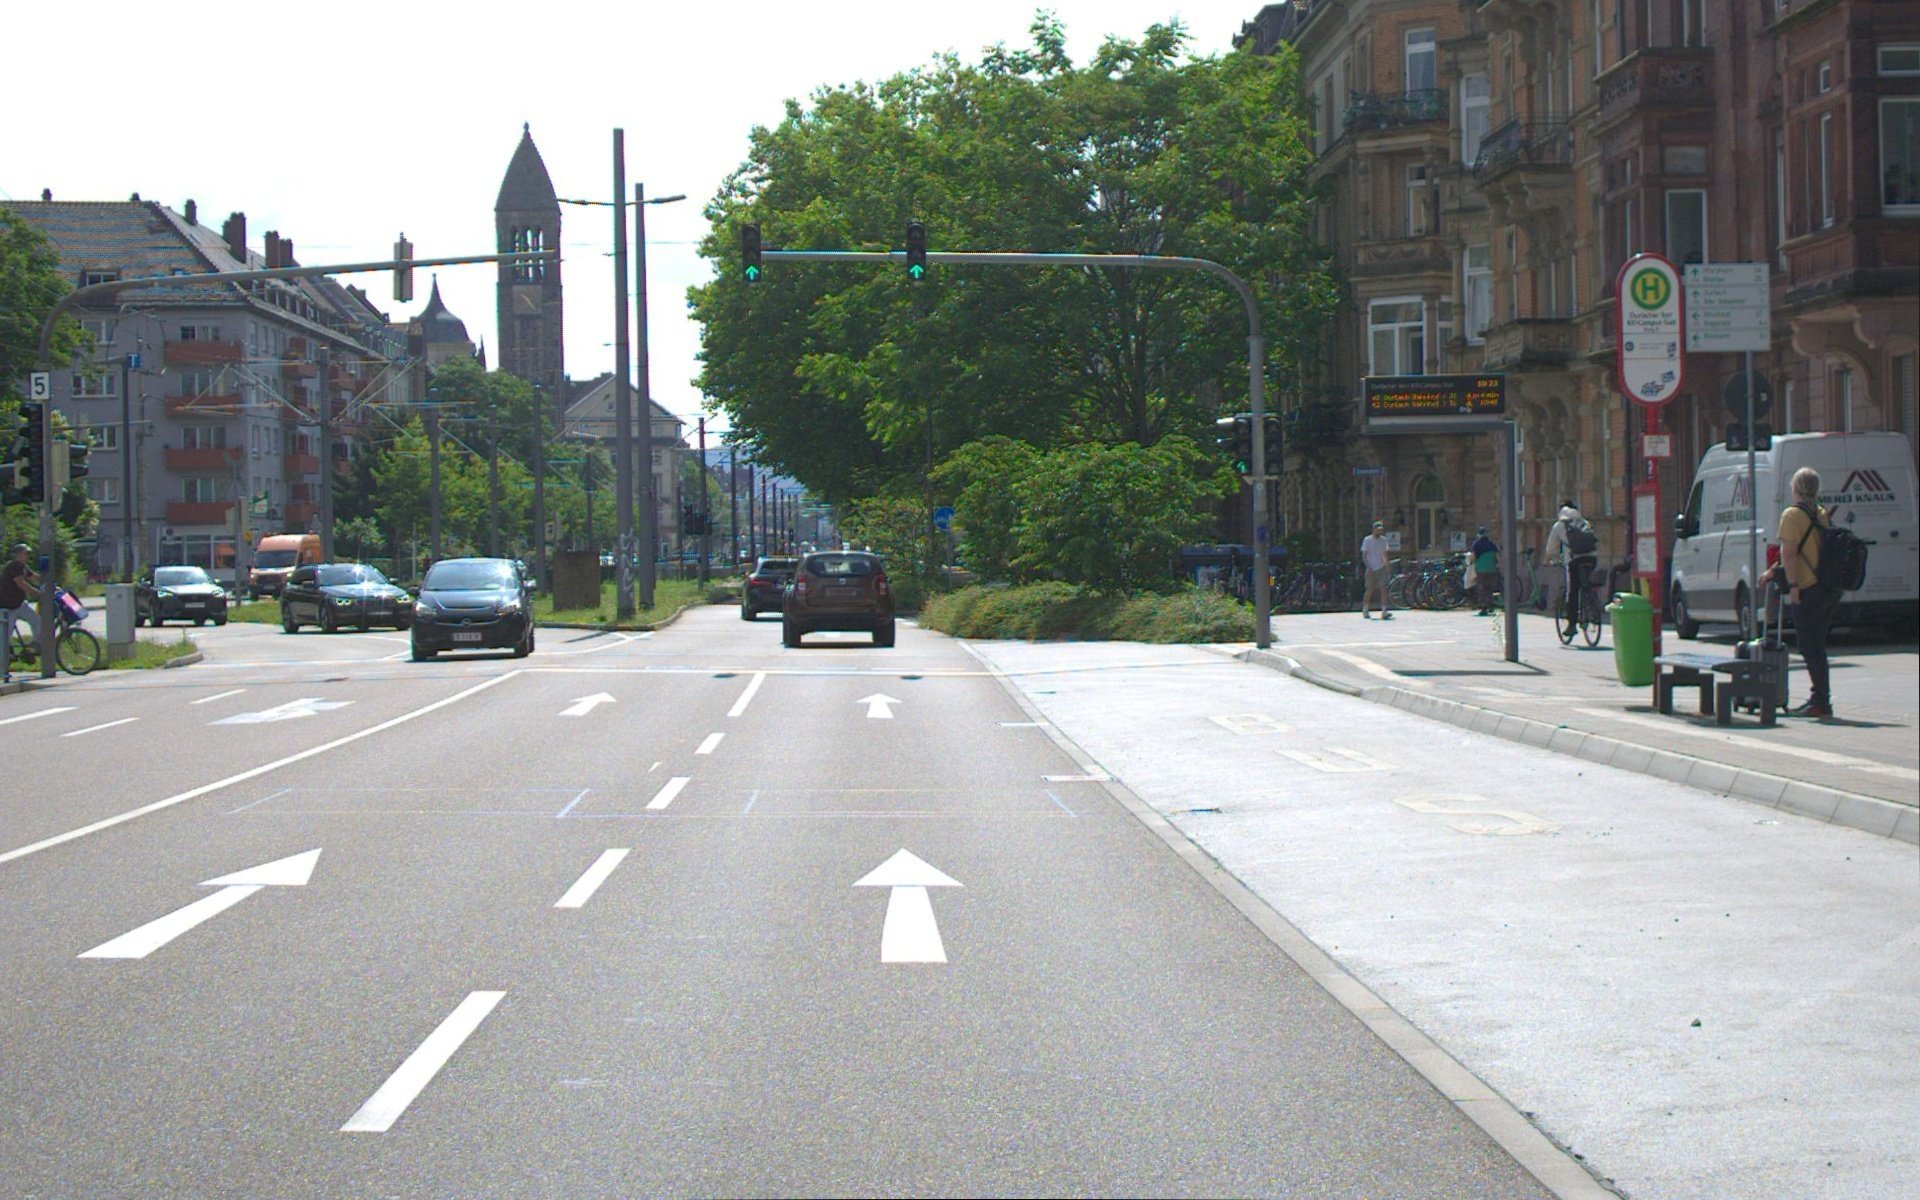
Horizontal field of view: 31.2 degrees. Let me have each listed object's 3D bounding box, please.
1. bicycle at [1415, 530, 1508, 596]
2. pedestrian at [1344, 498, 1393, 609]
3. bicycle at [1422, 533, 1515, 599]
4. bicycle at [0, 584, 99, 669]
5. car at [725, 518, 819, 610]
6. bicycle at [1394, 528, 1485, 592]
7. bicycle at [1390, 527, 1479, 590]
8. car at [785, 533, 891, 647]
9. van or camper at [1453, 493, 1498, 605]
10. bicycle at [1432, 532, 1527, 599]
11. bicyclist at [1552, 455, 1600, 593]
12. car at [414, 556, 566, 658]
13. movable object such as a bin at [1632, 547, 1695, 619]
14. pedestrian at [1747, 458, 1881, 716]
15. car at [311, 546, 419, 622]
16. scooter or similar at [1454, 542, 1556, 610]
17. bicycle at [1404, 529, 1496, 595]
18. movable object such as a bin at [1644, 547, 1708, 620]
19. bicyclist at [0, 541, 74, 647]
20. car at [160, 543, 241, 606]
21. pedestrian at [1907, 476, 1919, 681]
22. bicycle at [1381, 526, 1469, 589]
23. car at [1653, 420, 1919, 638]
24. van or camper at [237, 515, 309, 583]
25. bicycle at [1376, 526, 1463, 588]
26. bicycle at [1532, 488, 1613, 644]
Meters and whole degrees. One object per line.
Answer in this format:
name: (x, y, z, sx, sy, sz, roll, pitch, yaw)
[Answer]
bicycle: (9.895, -0.731, 67.862, 1.769, 1.263, 0.466, -1, 3, 2)
pedestrian: (7.533, -0.862, 63.371, 0.768, 2.007, 0.715, -1, 1, -1)
bicycle: (9.945, -0.669, 67.234, 1.746, 1.263, 0.466, -1, 3, 2)
bicycle: (-12.955, 0.361, 47.136, 2.019, 1.122, 0.931, -1, 1, 9)
car: (-4.330, -0.841, 78.684, 1.993, 2.007, 4.001, -1, 1, -4)
bicycle: (9.690, -0.806, 69.478, 1.769, 1.263, 0.466, -1, 3, 2)
bicycle: (9.671, -0.848, 70.101, 1.769, 1.263, 0.466, -1, 3, 2)
car: (-2.097, -0.193, 58.118, 1.688, 1.705, 3.610, -1, 3, -3)
van or camper: (9.364, -0.929, 62.501, 0.666, 2.007, 0.638, -1, 1, -1)
bicycle: (10.073, -0.670, 66.654, 1.769, 1.263, 0.466, -1, 3, 2)
bicyclist: (7.760, -0.953, 43.319, 0.427, 1.712, 0.828, -1, 1, -1)
car: (-6.945, 0.071, 51.076, 1.915, 1.412, 3.742, -1, 1, -3)
movable object such as a bin: (11.079, -0.270, 54.153, 0.785, 1.104, 0.777, -1, 1, -3)
pedestrian: (6.414, -0.105, 25.827, 0.662, 1.896, 0.695, -2, 1, -20)
car: (-12.844, -0.368, 74.395, 1.817, 1.546, 4.561, -1, 1, -4)
scooter or similar: (10.136, -0.444, 63.985, 1.769, 1.181, 0.466, -3, 0, -1)
bicycle: (9.789, -0.763, 68.679, 1.769, 1.263, 0.466, -1, 3, 2)
movable object such as a bin: (11.116, -0.262, 53.397, 0.785, 1.104, 0.777, -1, 1, -3)
bicyclist: (-12.852, -0.083, 47.174, 1.089, 1.431, 0.824, -1, 1, 9)
car: (-19.289, -0.654, 87.250, 1.798, 1.546, 4.297, 0, 1, -15)
pedestrian: (8.943, -0.198, 30.727, 0.662, 1.830, 0.695, -1, 1, -8)
bicycle: (9.623, -0.872, 71.180, 1.769, 1.263, 0.466, -1, 3, 2)
car: (10.333, -0.886, 42.981, 1.993, 2.517, 5.889, -1, 1, -1)
van or camper: (-28.645, -2.114, 143.508, 2.255, 2.728, 6.204, -1, 1, -6)
bicycle: (9.594, -0.896, 71.839, 1.769, 1.263, 0.466, -1, 3, 2)
bicycle: (7.730, -0.429, 43.414, 0.683, 1.919, 1.590, -1, 1, -1)
